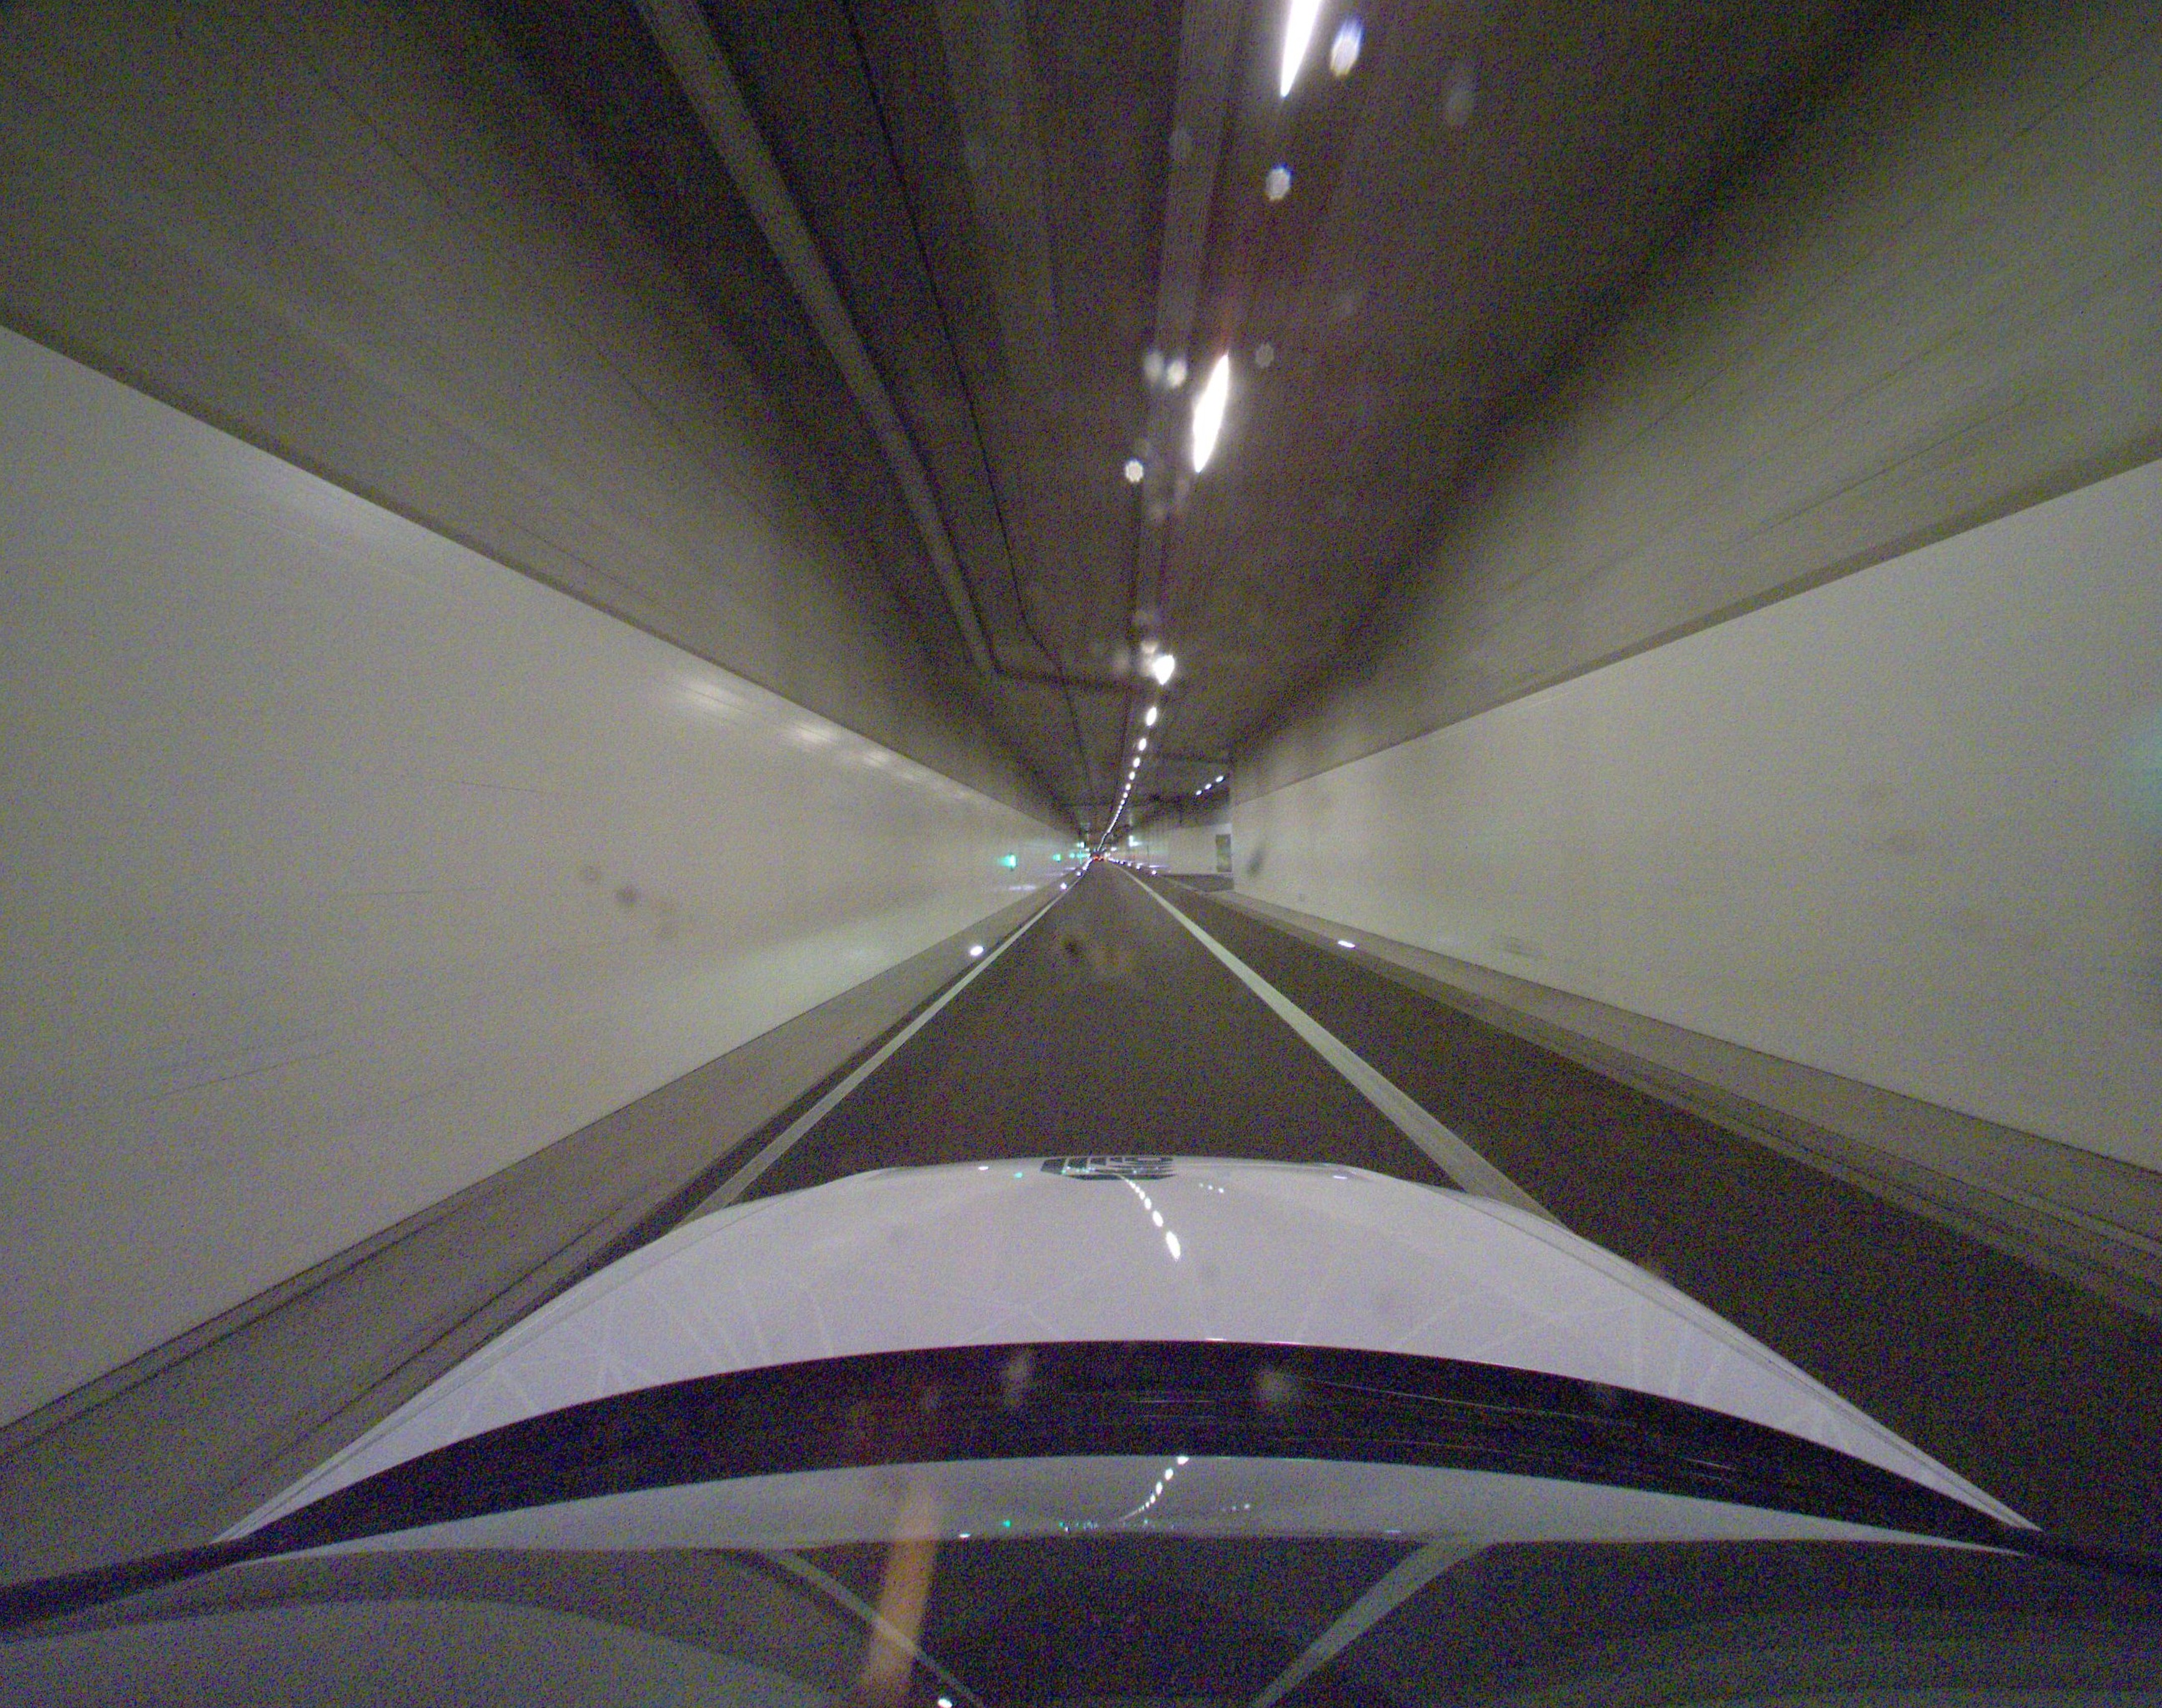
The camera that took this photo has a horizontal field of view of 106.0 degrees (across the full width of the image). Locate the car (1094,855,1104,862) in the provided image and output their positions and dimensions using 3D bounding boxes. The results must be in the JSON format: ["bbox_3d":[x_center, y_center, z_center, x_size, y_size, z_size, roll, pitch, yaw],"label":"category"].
[{"bbox_3d":[3.842,0.914,170.683,1.987,1.420,4.000,-4,0,0],"label":"car"}]
